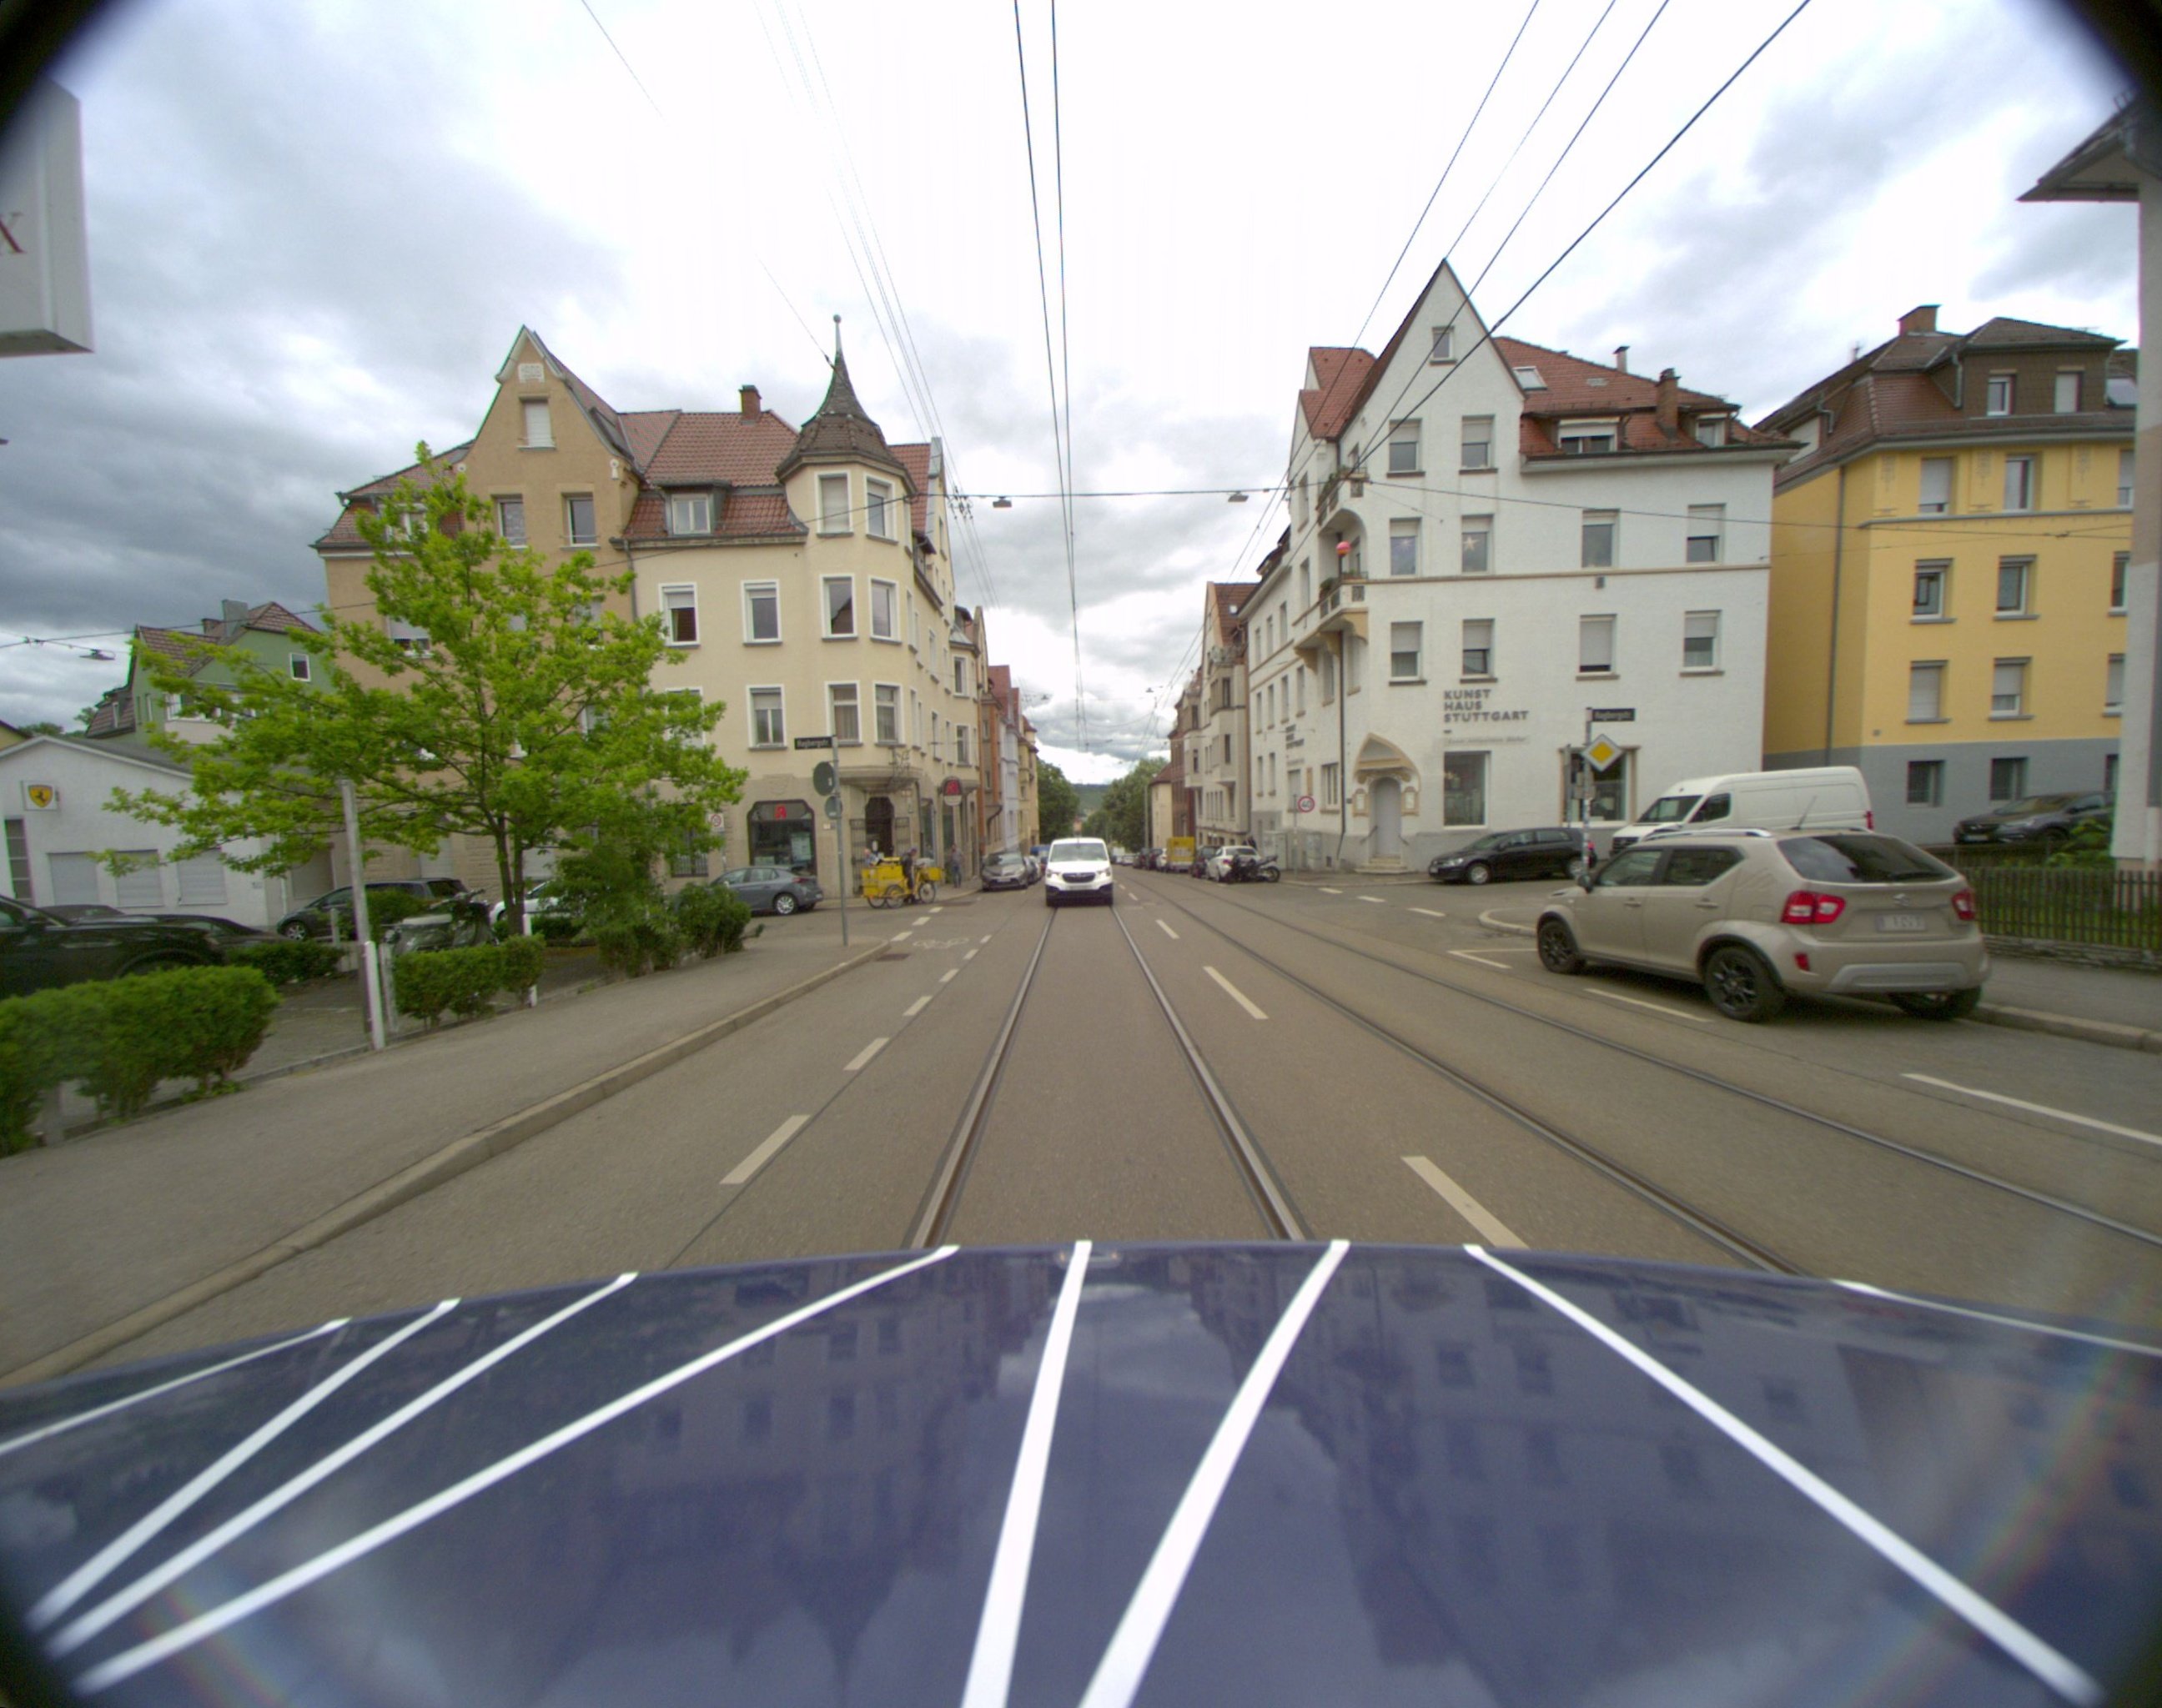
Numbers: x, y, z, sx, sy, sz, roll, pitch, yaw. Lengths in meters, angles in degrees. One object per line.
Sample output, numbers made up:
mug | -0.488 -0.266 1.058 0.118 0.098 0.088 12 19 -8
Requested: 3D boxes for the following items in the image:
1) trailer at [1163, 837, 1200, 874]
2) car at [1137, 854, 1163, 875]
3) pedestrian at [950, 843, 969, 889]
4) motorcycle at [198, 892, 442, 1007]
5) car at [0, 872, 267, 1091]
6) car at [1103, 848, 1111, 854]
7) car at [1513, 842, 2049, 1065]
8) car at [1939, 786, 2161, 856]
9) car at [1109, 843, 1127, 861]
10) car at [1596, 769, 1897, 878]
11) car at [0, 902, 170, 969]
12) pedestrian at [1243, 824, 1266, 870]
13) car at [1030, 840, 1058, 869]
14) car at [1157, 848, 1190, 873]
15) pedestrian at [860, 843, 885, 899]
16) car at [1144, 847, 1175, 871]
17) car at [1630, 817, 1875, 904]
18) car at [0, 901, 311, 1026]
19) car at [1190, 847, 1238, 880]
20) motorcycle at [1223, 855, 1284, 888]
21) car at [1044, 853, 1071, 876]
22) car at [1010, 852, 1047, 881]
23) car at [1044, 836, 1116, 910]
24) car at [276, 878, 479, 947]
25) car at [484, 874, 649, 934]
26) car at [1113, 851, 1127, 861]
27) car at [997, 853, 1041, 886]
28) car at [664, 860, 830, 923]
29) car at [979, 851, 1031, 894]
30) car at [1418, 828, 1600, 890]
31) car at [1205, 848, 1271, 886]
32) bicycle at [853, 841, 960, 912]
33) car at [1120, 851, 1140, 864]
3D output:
trailer | 6.136 0.099 46.665 1.753 2.143 4.071 0 0 1
car | 5.882 0.853 65.641 1.832 1.708 4.913 0 0 1
pedestrian | -4.902 0.474 30.775 0.600 1.793 0.631 -2 1 0
motorcycle | -10.479 1.249 10.666 0.929 1.099 2.382 -3 5 -1
car | -9.585 1.087 5.459 1.999 1.673 5.093 -2 1 -2
car | 6.700 -0.819 193.234 1.856 1.532 3.948 -2 0 0
car | 6.119 0.707 7.379 1.701 1.547 3.850 -2 0 2
car | 26.233 -0.864 20.500 4.108 1.615 1.823 -3 1 -1
car | 5.684 -0.297 117.866 2.164 2.591 6.218 1 0 -2
car | 18.047 -0.801 20.869 6.207 2.517 2.191 -3 1 2
car | -28.944 2.314 21.581 3.985 1.572 1.580 -3 1 -2
pedestrian | 7.517 -0.303 32.955 0.590 1.895 0.811 -7 1 0
car | -3.129 0.000 64.957 1.998 2.363 5.055 -2 1 0
car | 6.129 0.430 50.842 1.701 1.584 4.268 0 0 1
pedestrian | -6.617 0.541 24.134 0.483 1.757 0.493 -2 1 34
car | 5.820 0.365 57.105 1.878 1.654 4.891 0 0 1
car | 13.967 0.086 15.991 3.523 1.485 1.775 -3 6 1
car | -13.958 1.466 10.648 1.915 1.346 4.326 -3 -1 -1
car | 6.102 0.428 35.204 1.701 1.460 3.023 0 1 0
motorcycle | 6.180 0.622 27.201 2.111 1.127 0.767 0 0 14
car | -1.716 0.749 56.078 1.784 1.466 4.589 -4 0 0
car | -2.879 0.666 42.619 1.755 1.382 4.306 -4 0 -1
car | 0.019 0.464 21.349 1.759 1.824 4.447 -2 0 1
car | -19.387 1.583 21.057 3.985 1.572 1.580 -3 1 -2
car | -14.383 1.382 21.379 3.442 1.381 1.580 -3 1 -2
car | 5.562 0.275 107.743 1.723 1.394 4.313 1 0 0
car | -2.924 0.694 36.739 1.784 1.382 4.691 -4 0 -1
car | -9.249 1.018 21.253 3.857 1.455 1.580 -3 1 -2
car | -3.057 0.685 31.432 1.740 1.528 4.573 -4 0 -2
car | 11.768 0.128 21.081 3.997 1.455 1.754 -3 1 2
car | 6.170 0.455 30.245 1.784 1.349 4.291 -2 0 1
bicycle | -4.988 0.606 21.941 1.179 1.855 2.734 -2 1 42
car | 5.769 0.425 89.832 1.832 1.420 4.626 2 0 -2
